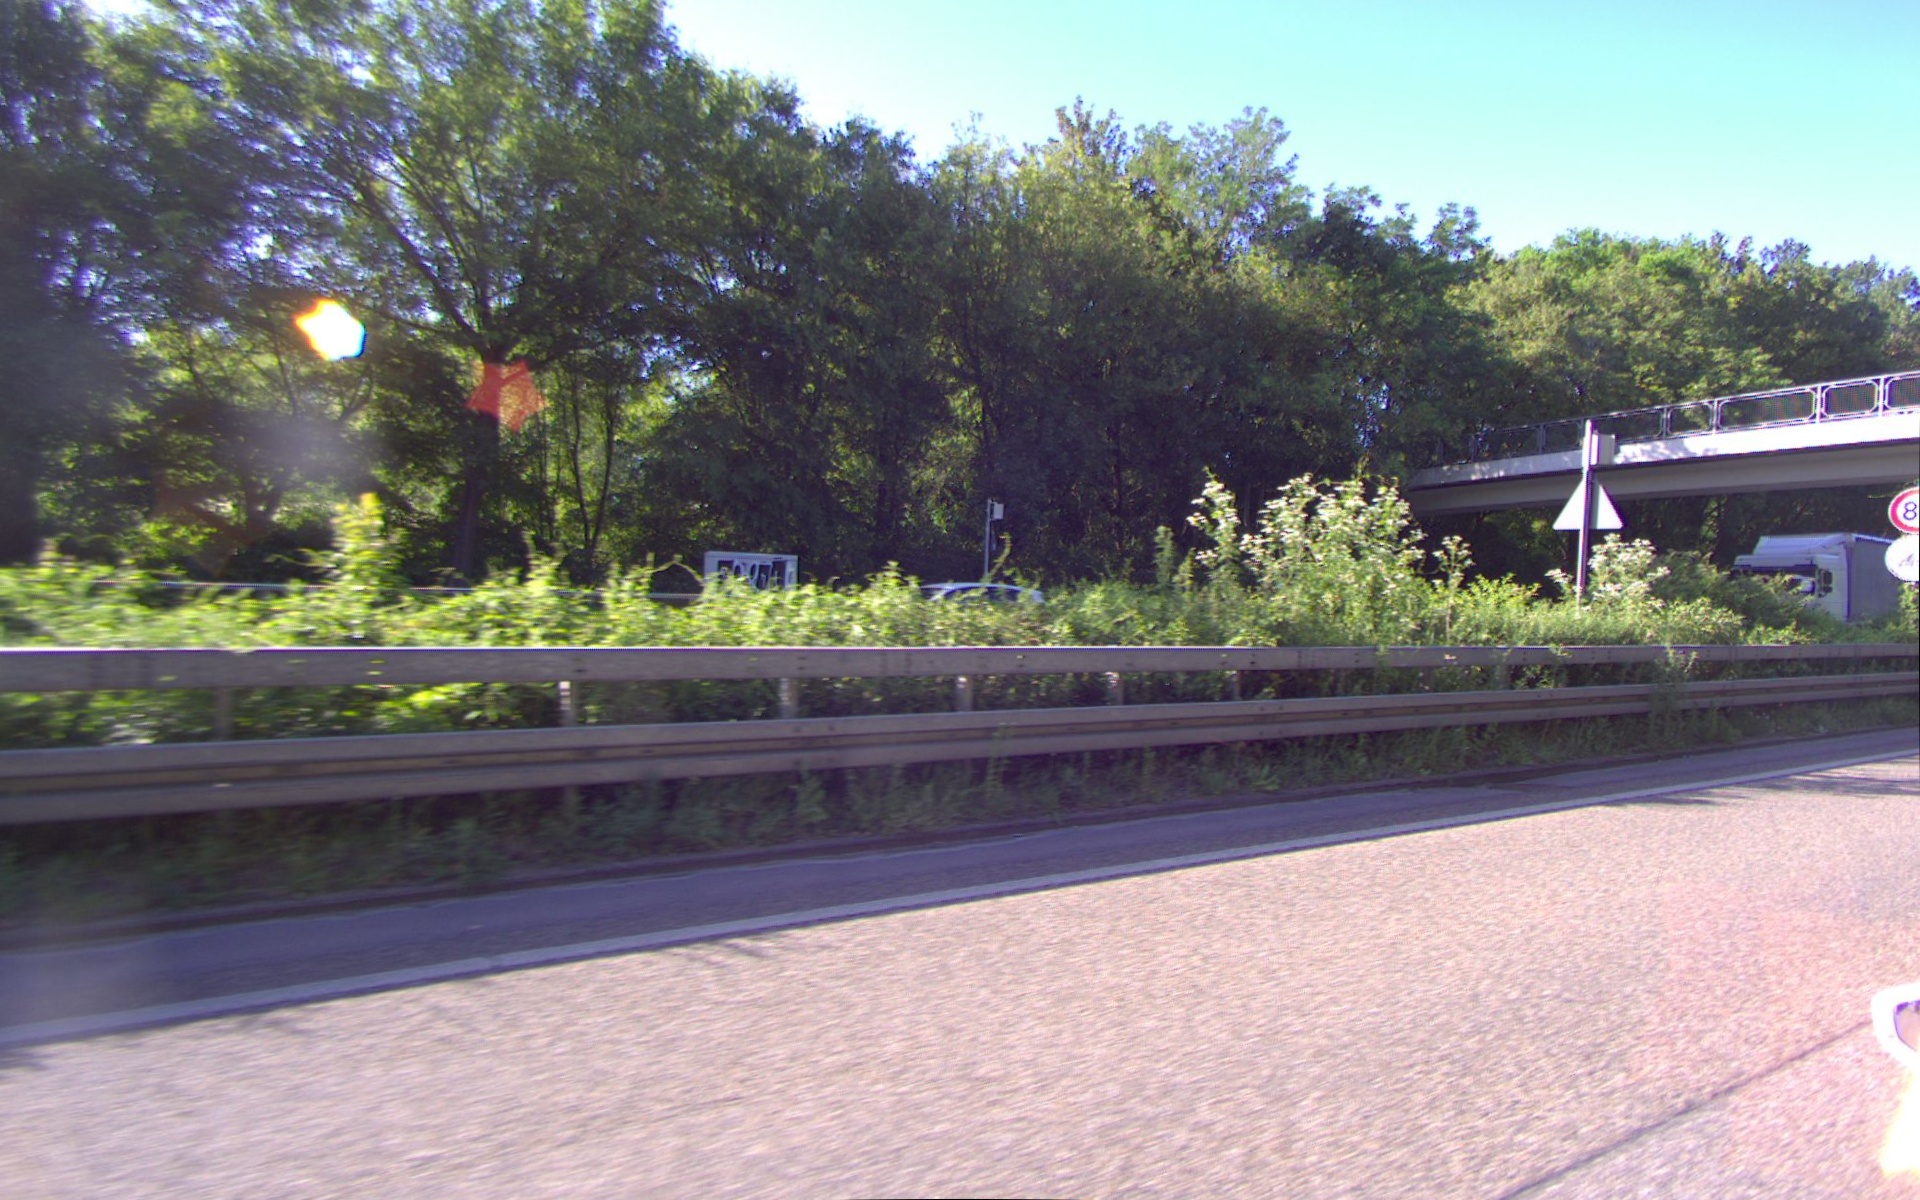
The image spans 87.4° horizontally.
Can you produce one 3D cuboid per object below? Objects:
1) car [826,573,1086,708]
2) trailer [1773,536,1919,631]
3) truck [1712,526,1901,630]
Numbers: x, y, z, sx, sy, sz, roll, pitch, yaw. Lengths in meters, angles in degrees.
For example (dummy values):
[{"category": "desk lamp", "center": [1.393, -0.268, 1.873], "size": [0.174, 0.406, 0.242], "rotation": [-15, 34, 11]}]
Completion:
[{"category": "car", "center": [-0.048, 0.658, 17.127], "size": [3.953, 2.040, 1.984], "rotation": [2, 0, -30]}, {"category": "trailer", "center": [35.808, -0.464, 38.840], "size": [11.779, 3.210, 2.915], "rotation": [2, 0, -31]}, {"category": "truck", "center": [29.668, -0.664, 35.140], "size": [7.001, 3.210, 2.915], "rotation": [2, 0, -31]}]
